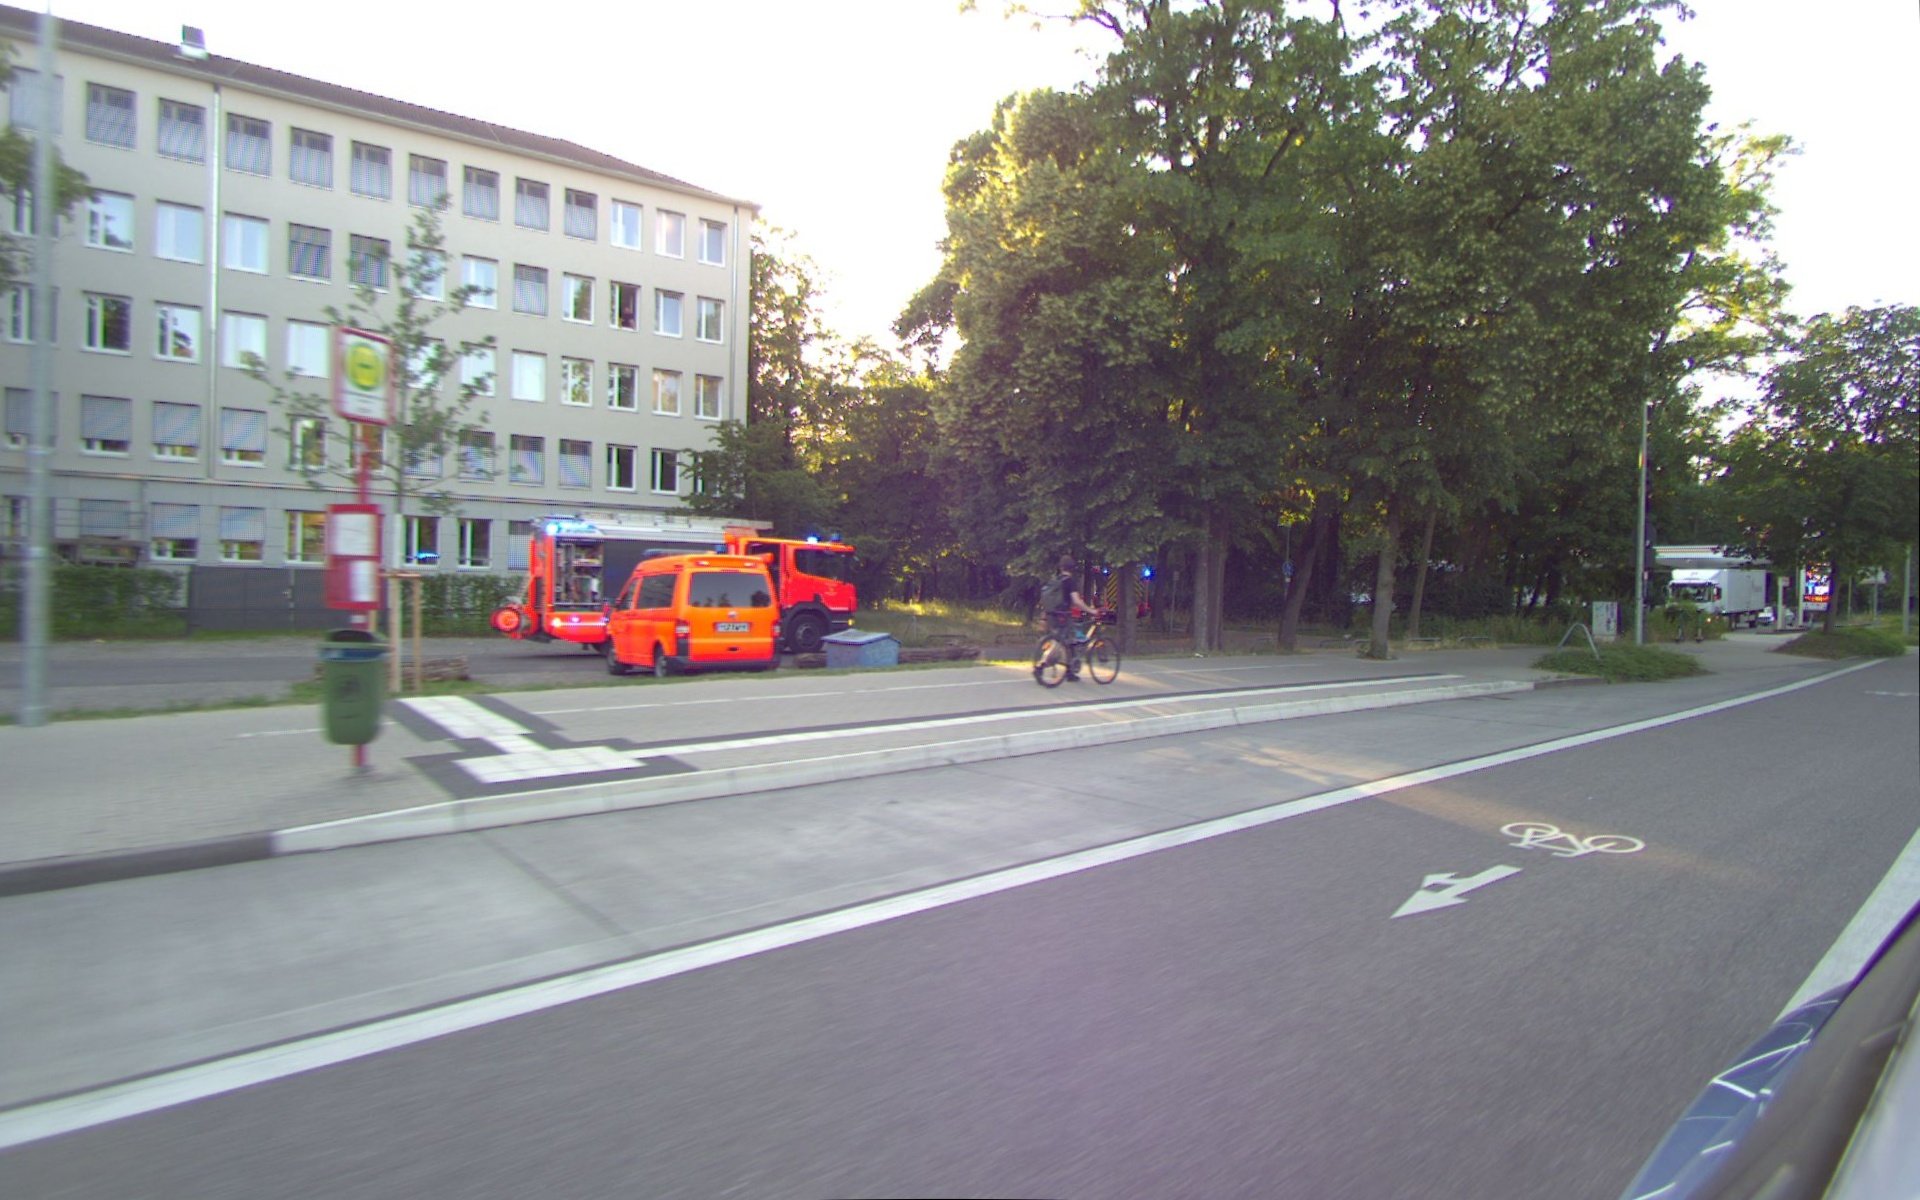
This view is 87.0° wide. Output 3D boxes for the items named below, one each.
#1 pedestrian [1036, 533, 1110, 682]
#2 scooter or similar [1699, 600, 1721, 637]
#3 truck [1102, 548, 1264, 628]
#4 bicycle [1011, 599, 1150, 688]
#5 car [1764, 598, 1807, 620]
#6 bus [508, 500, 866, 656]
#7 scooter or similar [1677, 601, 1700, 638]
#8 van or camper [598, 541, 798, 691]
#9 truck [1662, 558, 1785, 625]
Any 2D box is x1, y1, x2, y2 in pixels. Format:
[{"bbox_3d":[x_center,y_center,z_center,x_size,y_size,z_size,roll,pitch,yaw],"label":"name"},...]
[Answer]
[{"bbox_3d":[1.597,0.087,14.284,0.683,2.038,0.724,1,1,-41],"label":"pedestrian"},{"bbox_3d":[27.663,0.668,37.301,0.482,1.298,1.122,3,2,43],"label":"scooter or similar"},{"bbox_3d":[9.786,-0.562,45.689,2.703,3.251,8.682,1,1,-22],"label":"truck"},{"bbox_3d":[1.683,0.559,13.921,1.936,1.111,0.831,0,2,-43],"label":"bicycle"},{"bbox_3d":[61.177,0.650,74.969,4.633,1.611,1.995,0,0,-44],"label":"car"},{"bbox_3d":[-6.438,-0.453,24.398,7.807,3.236,2.999,0,0,-31],"label":"bus"},{"bbox_3d":[26.355,0.700,36.627,0.482,1.298,1.212,3,2,43],"label":"scooter or similar"},{"bbox_3d":[-4.809,0.234,17.996,2.249,2.273,4.834,0,0,-30],"label":"van or camper"},{"bbox_3d":[47.777,-0.464,62.993,15.612,3.776,3.222,0,0,-42],"label":"truck"}]
